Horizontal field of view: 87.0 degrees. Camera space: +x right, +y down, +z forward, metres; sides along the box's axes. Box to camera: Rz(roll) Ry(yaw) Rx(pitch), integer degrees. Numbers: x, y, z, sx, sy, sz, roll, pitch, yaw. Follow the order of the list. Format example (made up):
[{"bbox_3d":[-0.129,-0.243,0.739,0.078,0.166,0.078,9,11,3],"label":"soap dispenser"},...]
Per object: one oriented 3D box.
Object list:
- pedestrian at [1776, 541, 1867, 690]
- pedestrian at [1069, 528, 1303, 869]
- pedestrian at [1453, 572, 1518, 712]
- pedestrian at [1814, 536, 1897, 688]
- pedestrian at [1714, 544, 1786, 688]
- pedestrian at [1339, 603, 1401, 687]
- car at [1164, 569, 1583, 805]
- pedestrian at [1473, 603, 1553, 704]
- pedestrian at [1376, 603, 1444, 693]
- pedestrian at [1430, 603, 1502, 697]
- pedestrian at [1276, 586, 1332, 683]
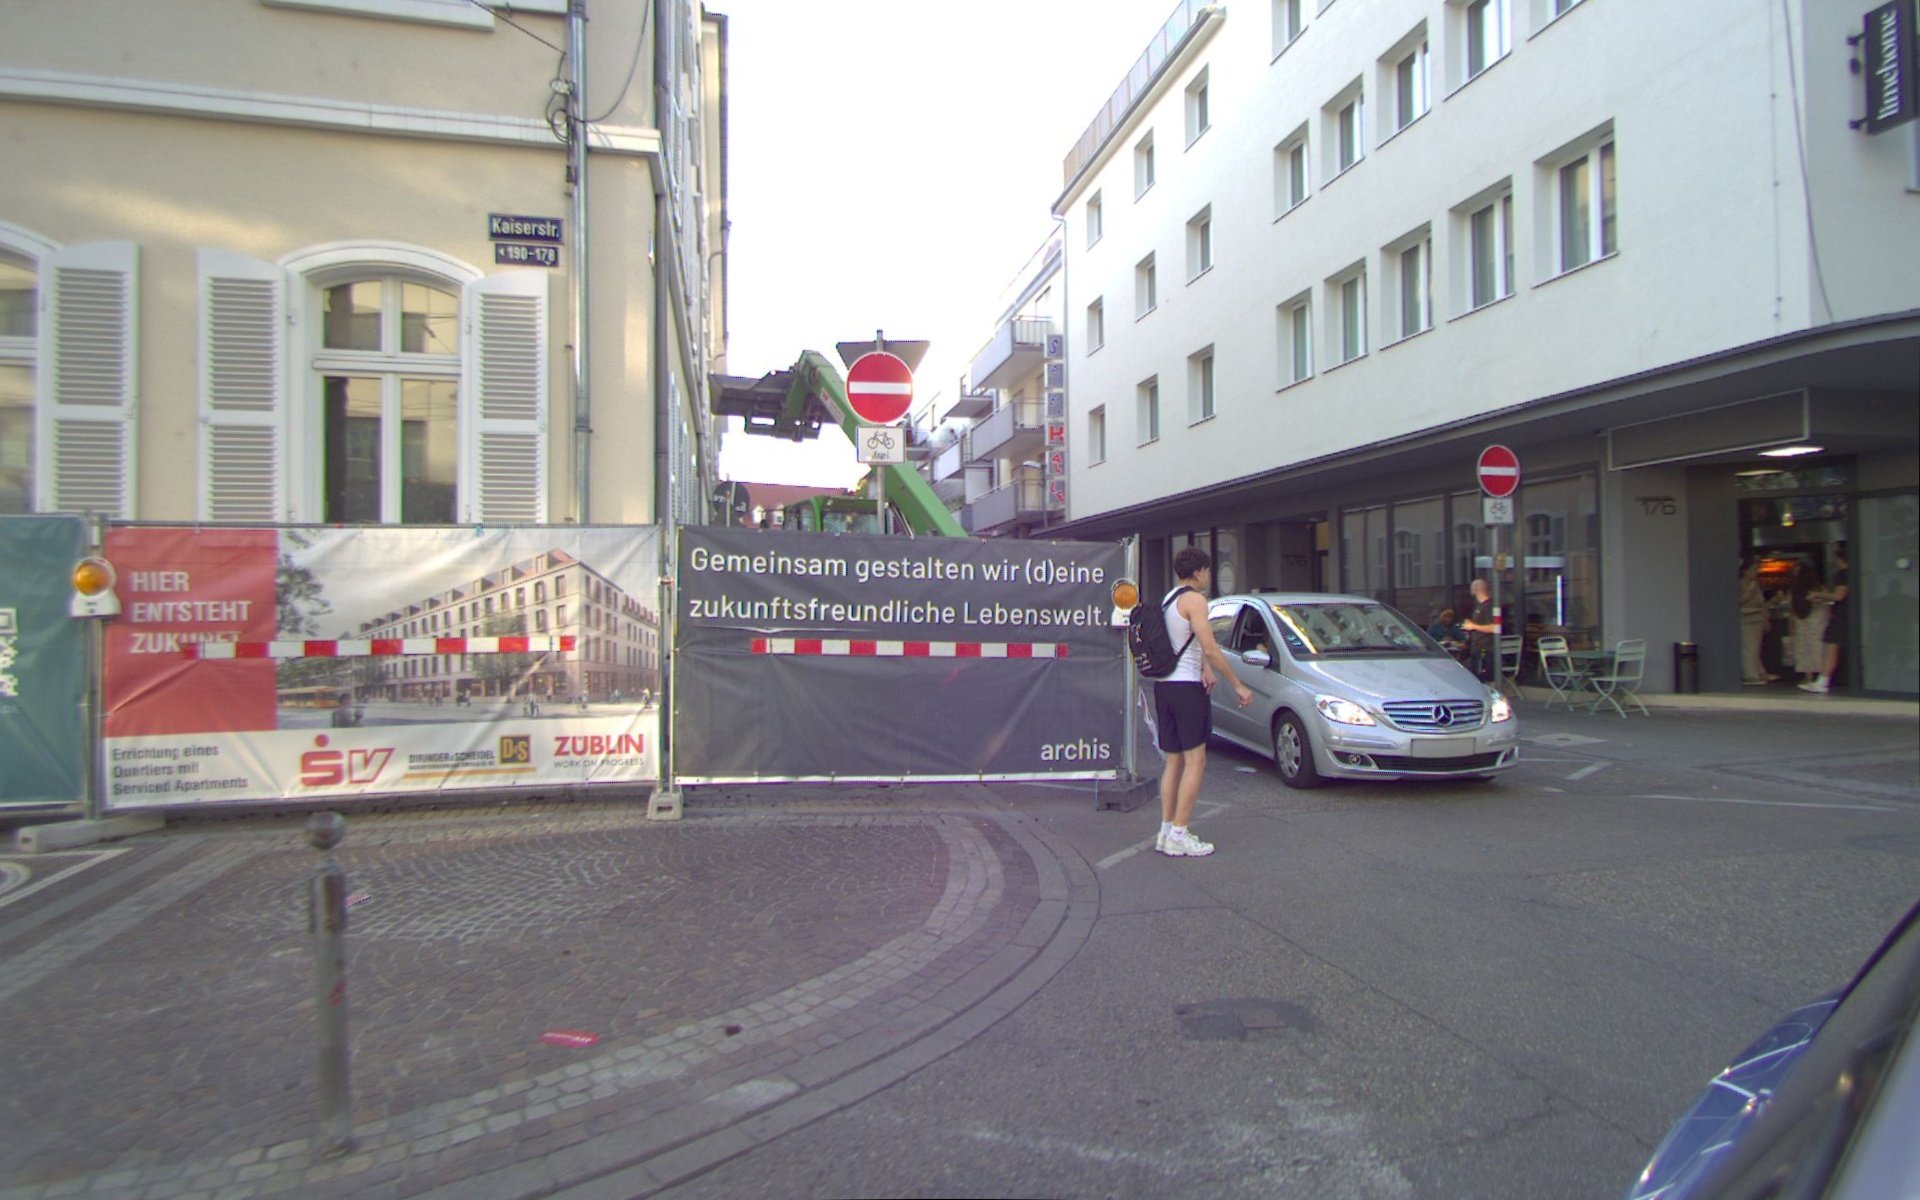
[{"bbox_3d":[11.531,0.204,13.559,0.559,1.934,0.725,0,-1,-25],"label":"pedestrian"},{"bbox_3d":[1.313,0.542,6.111,1.049,1.838,0.947,-3,-1,-5],"label":"pedestrian"},{"bbox_3d":[6.460,0.497,12.434,0.619,1.657,0.708,-1,-1,33],"label":"pedestrian"},{"bbox_3d":[10.884,0.142,12.328,0.619,1.789,0.708,-1,-1,33],"label":"pedestrian"},{"bbox_3d":[10.933,0.212,14.008,0.710,1.934,0.571,0,-1,-34],"label":"pedestrian"},{"bbox_3d":[6.766,0.732,16.711,0.702,1.346,0.625,-1,-1,-12],"label":"pedestrian"},{"bbox_3d":[3.452,0.639,9.392,1.829,1.629,3.947,-3,0,-7],"label":"car"},{"bbox_3d":[7.640,0.717,14.004,0.702,1.346,0.625,-1,-1,-12],"label":"pedestrian"},{"bbox_3d":[6.994,0.728,15.749,0.702,1.346,0.625,-1,-1,-12],"label":"pedestrian"},{"bbox_3d":[7.464,0.721,14.946,0.702,1.346,0.625,-1,-1,-12],"label":"pedestrian"},{"bbox_3d":[6.030,0.599,17.761,0.611,1.657,0.718,-1,-1,-15],"label":"pedestrian"}]
